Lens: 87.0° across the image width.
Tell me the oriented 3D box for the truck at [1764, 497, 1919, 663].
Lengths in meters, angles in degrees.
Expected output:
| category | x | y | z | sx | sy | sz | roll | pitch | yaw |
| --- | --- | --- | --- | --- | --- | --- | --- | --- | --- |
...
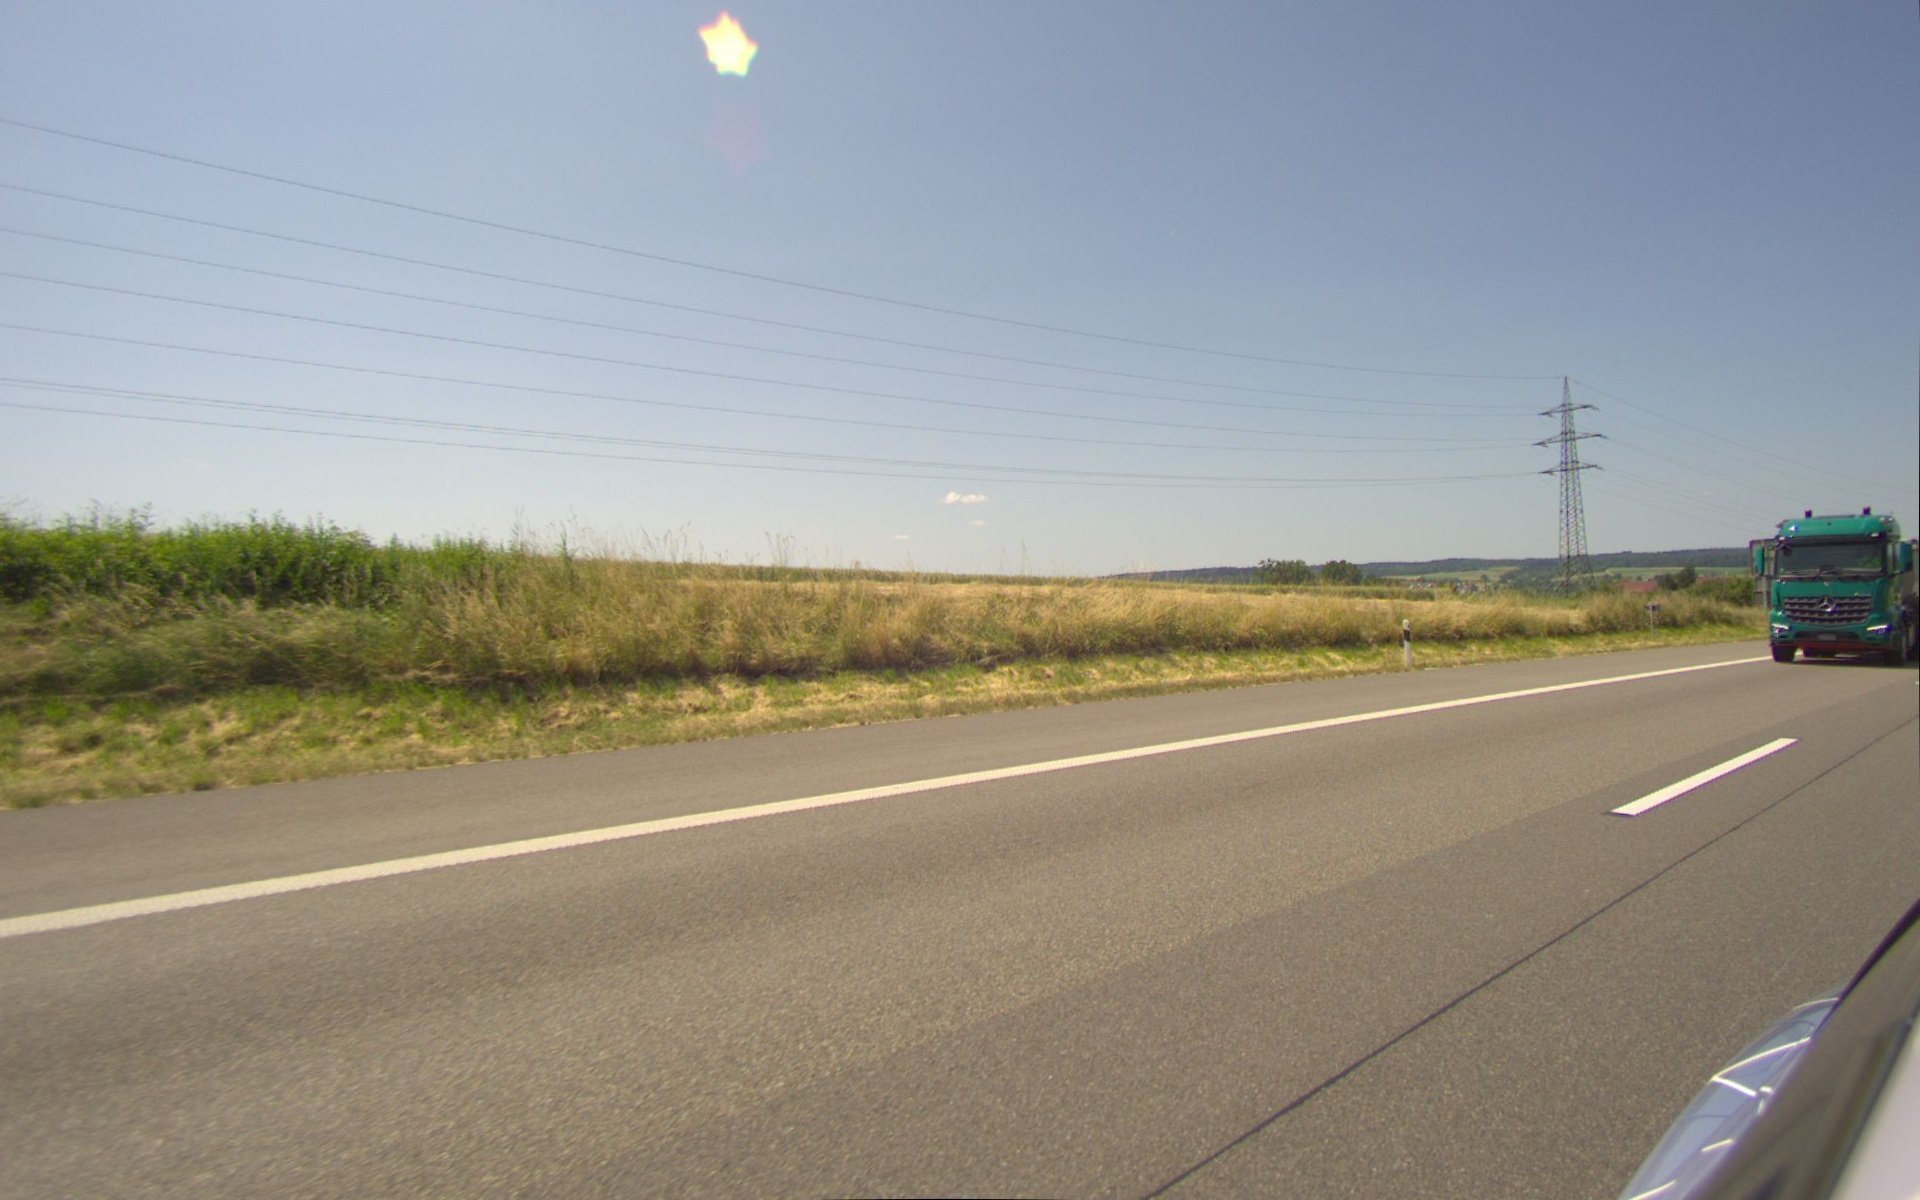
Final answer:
| category | x | y | z | sx | sy | sz | roll | pitch | yaw |
| --- | --- | --- | --- | --- | --- | --- | --- | --- | --- |
| truck | 25.589 | -0.492 | 28.191 | 12.541 | 3.771 | 2.870 | 0 | 0 | -41 |
